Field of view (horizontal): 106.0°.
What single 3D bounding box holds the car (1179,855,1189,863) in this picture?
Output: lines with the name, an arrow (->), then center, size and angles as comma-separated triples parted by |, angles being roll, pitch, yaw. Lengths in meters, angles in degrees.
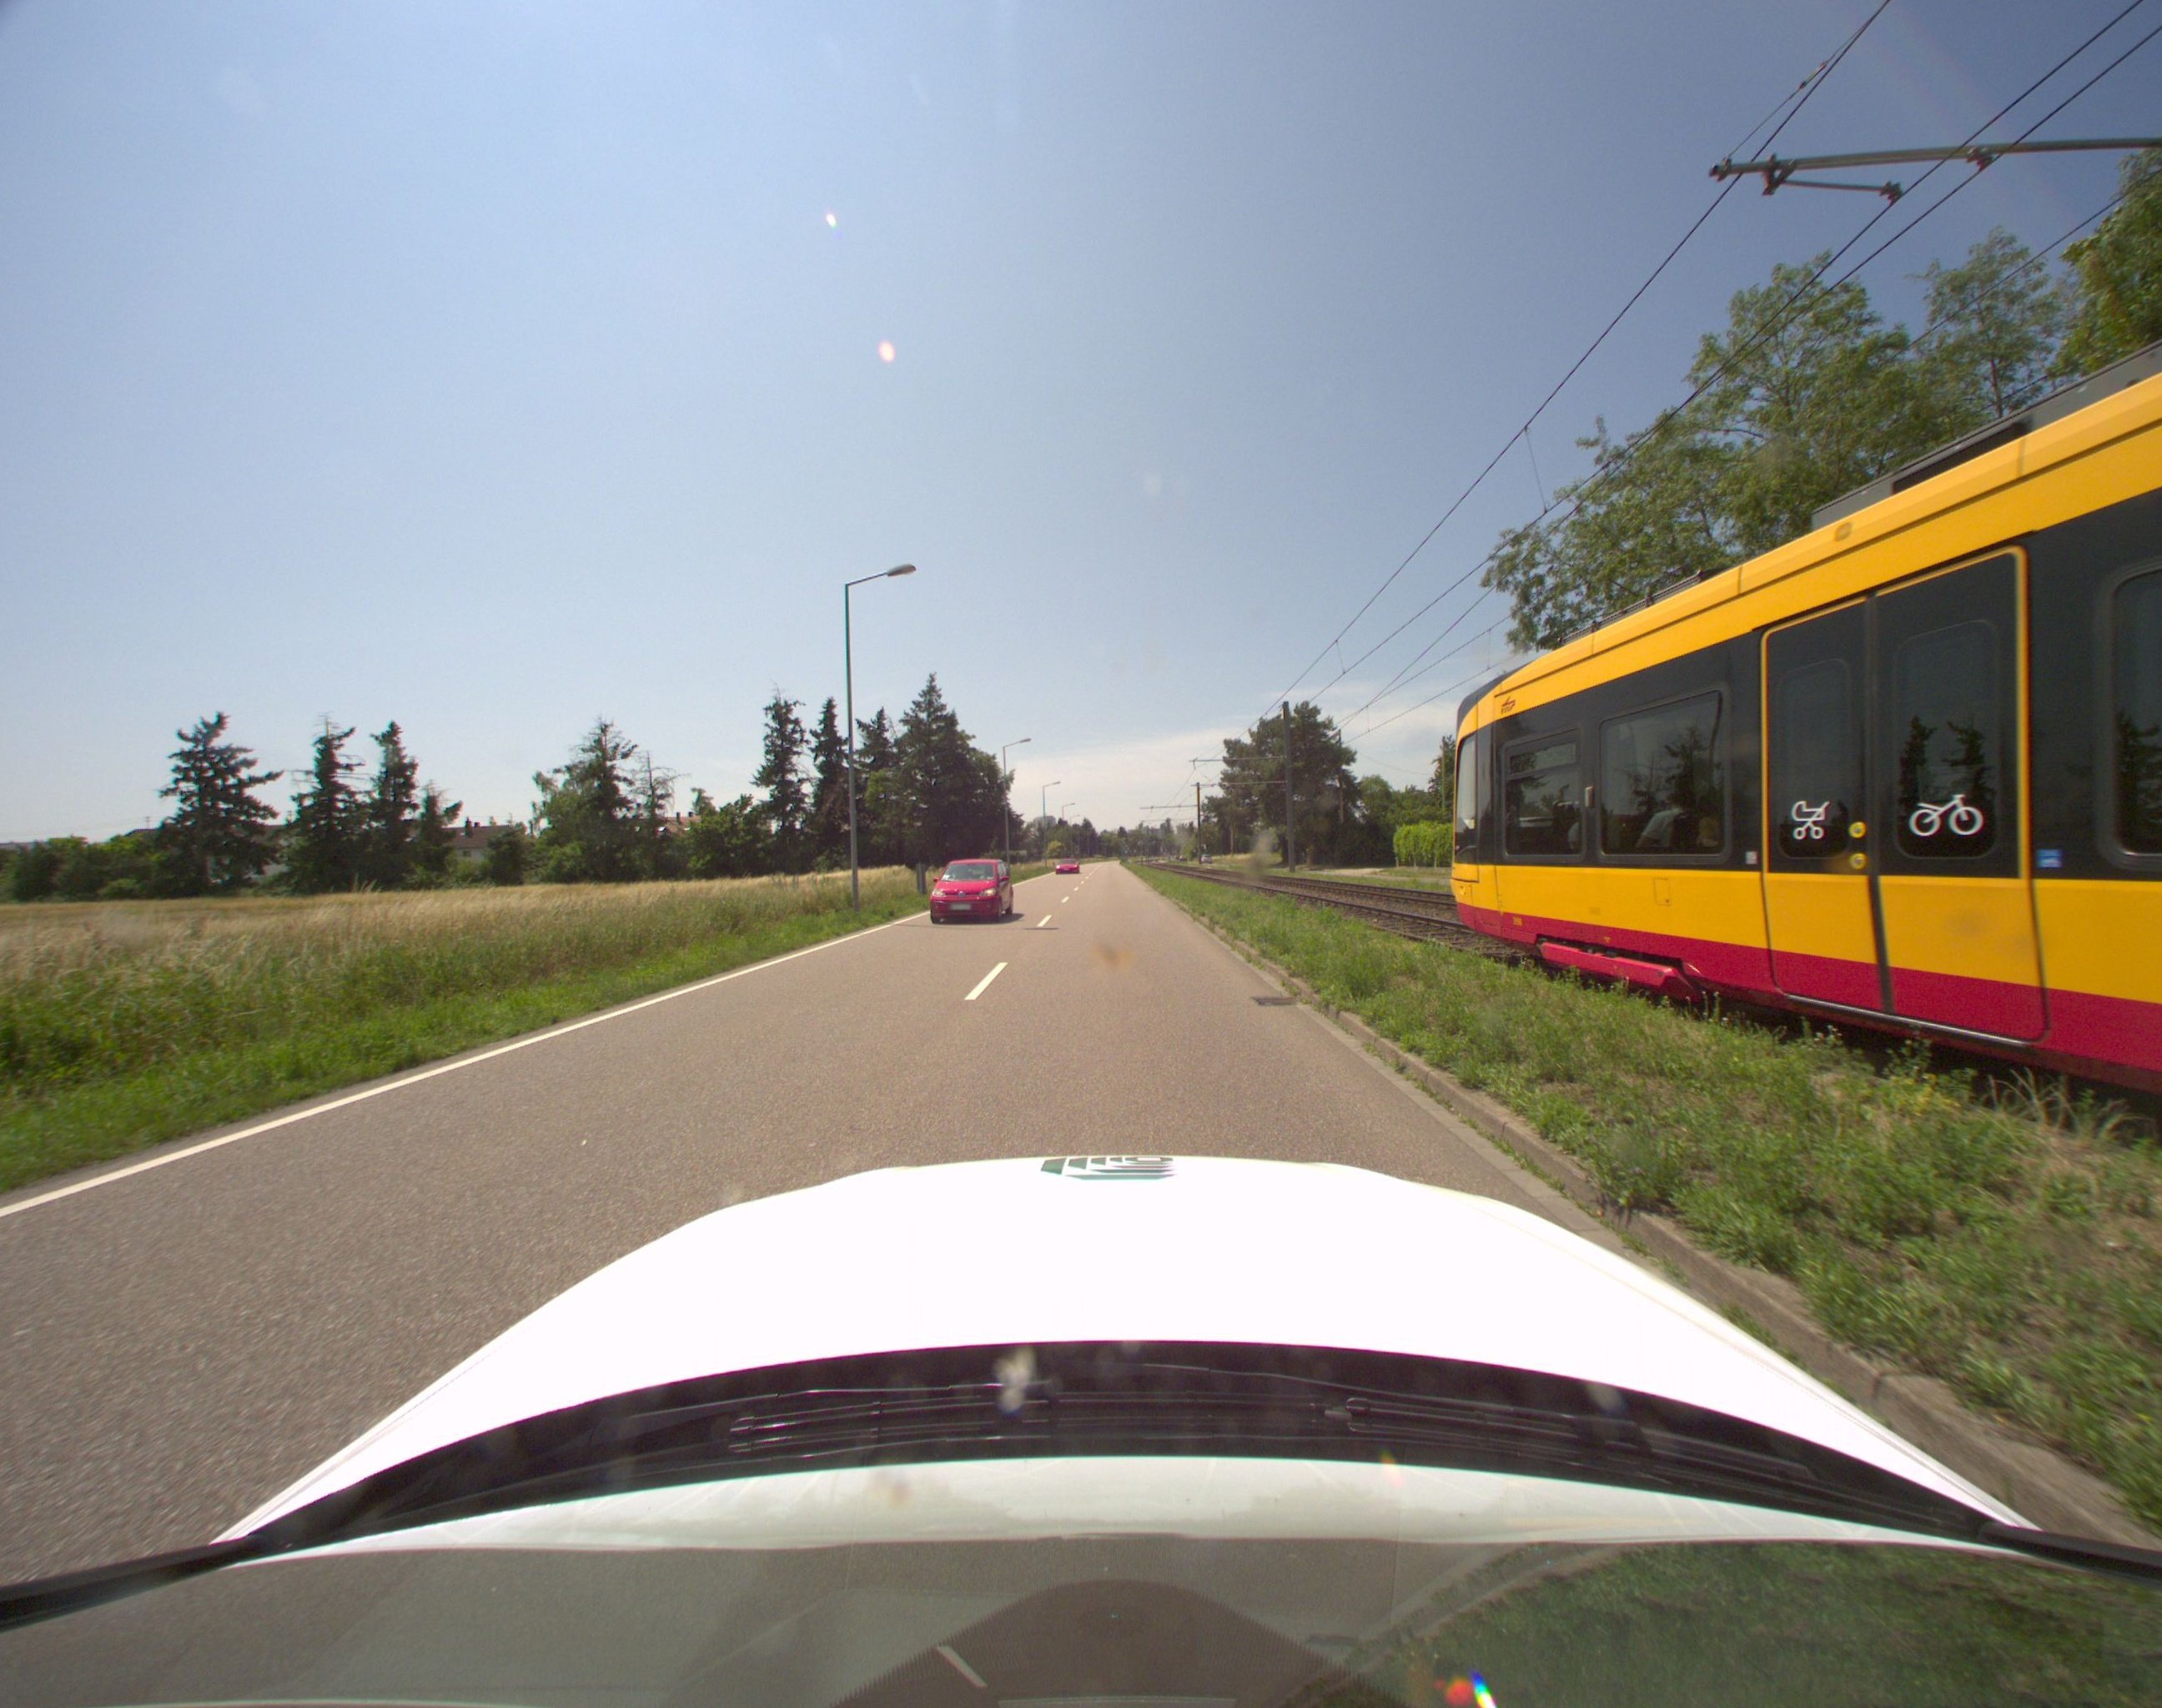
car -> 24.461, 1.156, 193.848 | 1.908, 1.662, 4.002 | -2, -1, 2

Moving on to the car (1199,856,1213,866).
car -> 21.208, 1.235, 138.288 | 1.986, 1.508, 4.001 | -2, -1, 2

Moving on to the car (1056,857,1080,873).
car -> -1.050, 0.927, 68.370 | 1.800, 1.286, 4.287 | -2, -1, 2

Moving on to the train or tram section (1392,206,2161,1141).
train or tram section -> 5.766, -0.689, 6.146 | 2.755, 3.689, 11.189 | -2, -1, 2

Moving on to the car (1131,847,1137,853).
car -> 16.178, -1.207, 248.630 | 1.546, 1.585, 3.571 | -2, -1, 2

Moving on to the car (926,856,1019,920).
car -> -2.610, 0.804, 20.335 | 1.639, 1.400, 3.846 | -2, -1, 2
